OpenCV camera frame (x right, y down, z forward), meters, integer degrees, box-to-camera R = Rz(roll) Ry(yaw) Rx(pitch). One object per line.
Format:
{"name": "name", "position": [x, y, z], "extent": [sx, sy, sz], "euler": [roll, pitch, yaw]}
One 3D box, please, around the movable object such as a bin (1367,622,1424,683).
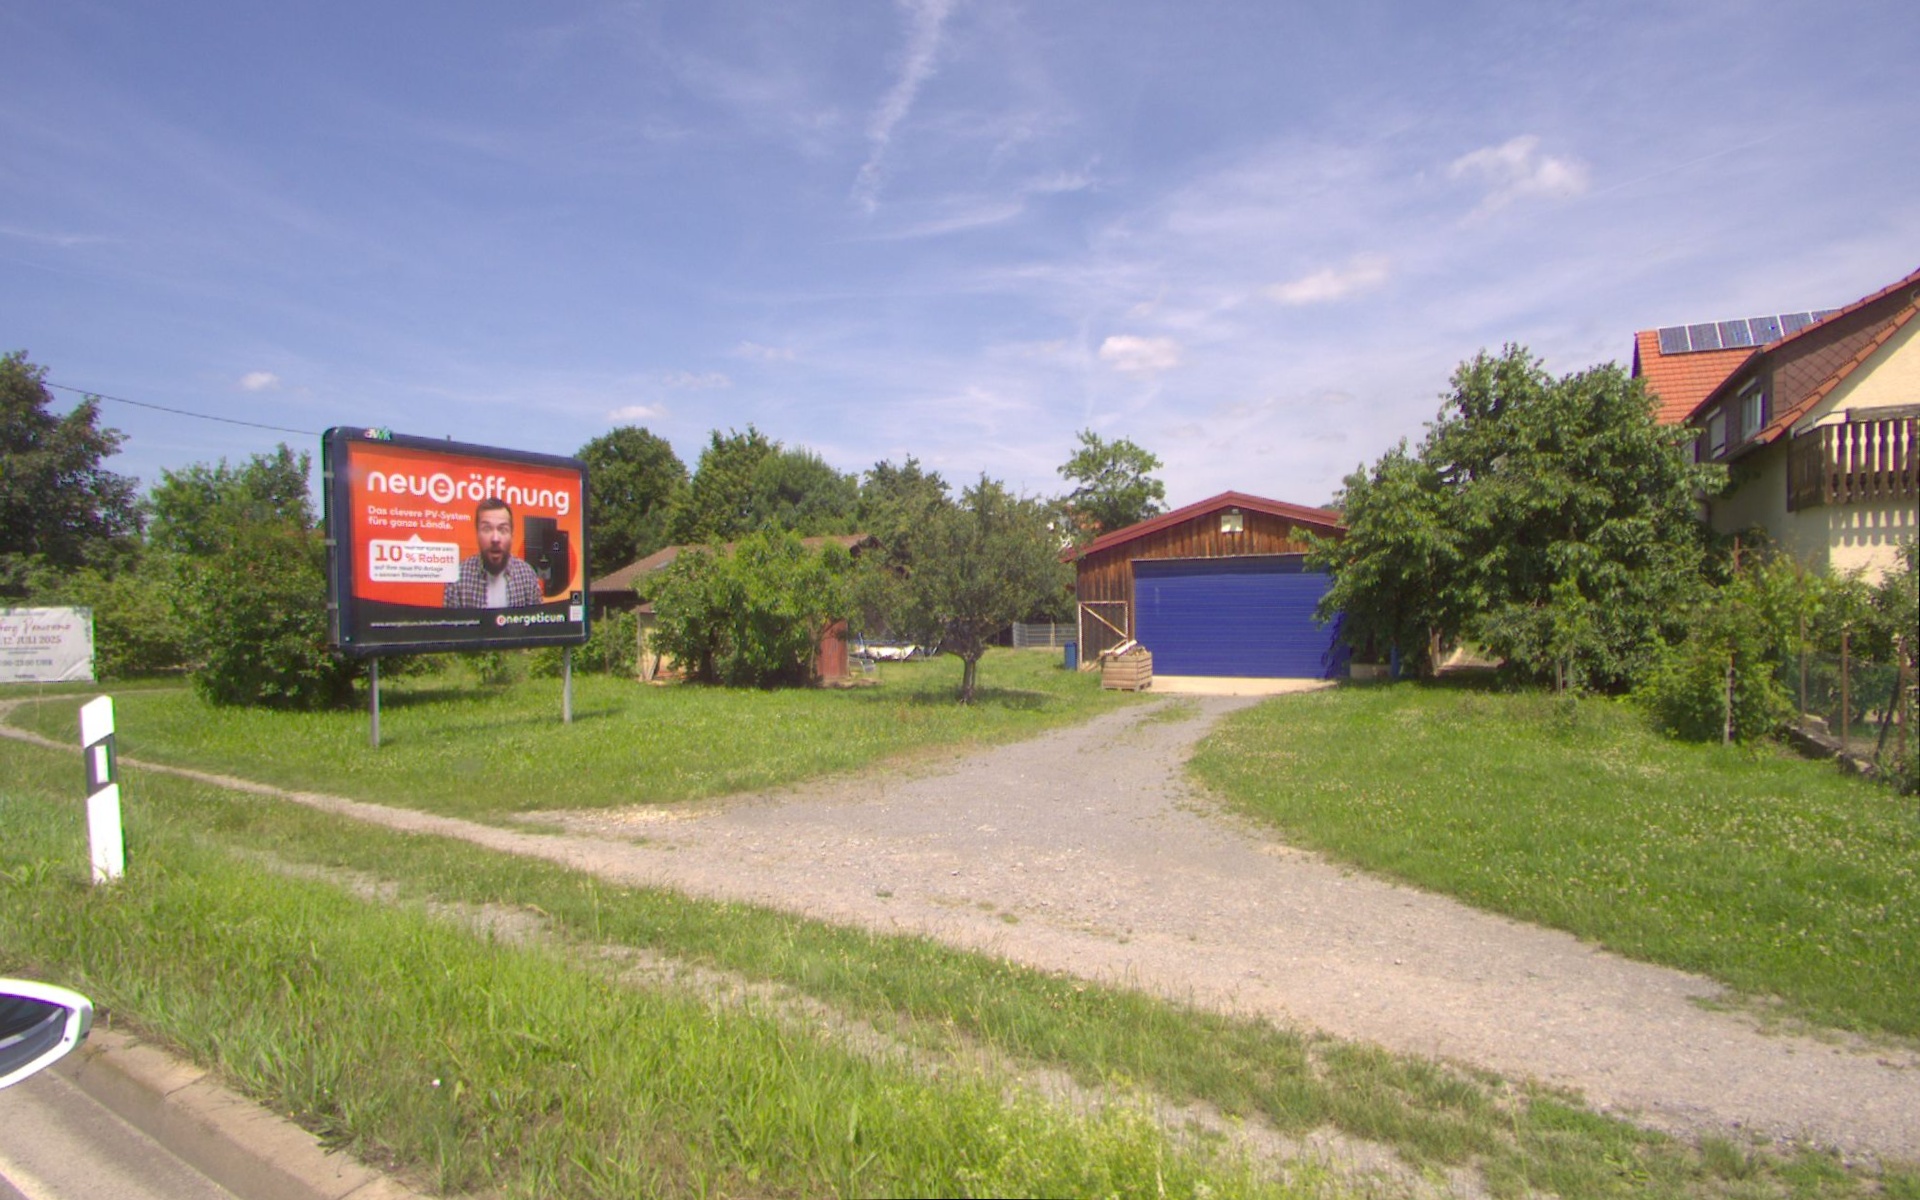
{"name": "movable object such as a bin", "position": [10.502, 1.236, 24.131], "extent": [1.049, 1.415, 1.271], "euler": [0, -1, 33]}

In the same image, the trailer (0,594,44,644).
{"name": "trailer", "position": [-96.888, 1.874, 100.297], "extent": [5.129, 4.688, 15.794], "euler": [1, -1, -34]}

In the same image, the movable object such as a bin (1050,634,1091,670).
{"name": "movable object such as a bin", "position": [3.343, 1.561, 30.183], "extent": [1.044, 1.046, 1.040], "euler": [0, -1, 17]}
